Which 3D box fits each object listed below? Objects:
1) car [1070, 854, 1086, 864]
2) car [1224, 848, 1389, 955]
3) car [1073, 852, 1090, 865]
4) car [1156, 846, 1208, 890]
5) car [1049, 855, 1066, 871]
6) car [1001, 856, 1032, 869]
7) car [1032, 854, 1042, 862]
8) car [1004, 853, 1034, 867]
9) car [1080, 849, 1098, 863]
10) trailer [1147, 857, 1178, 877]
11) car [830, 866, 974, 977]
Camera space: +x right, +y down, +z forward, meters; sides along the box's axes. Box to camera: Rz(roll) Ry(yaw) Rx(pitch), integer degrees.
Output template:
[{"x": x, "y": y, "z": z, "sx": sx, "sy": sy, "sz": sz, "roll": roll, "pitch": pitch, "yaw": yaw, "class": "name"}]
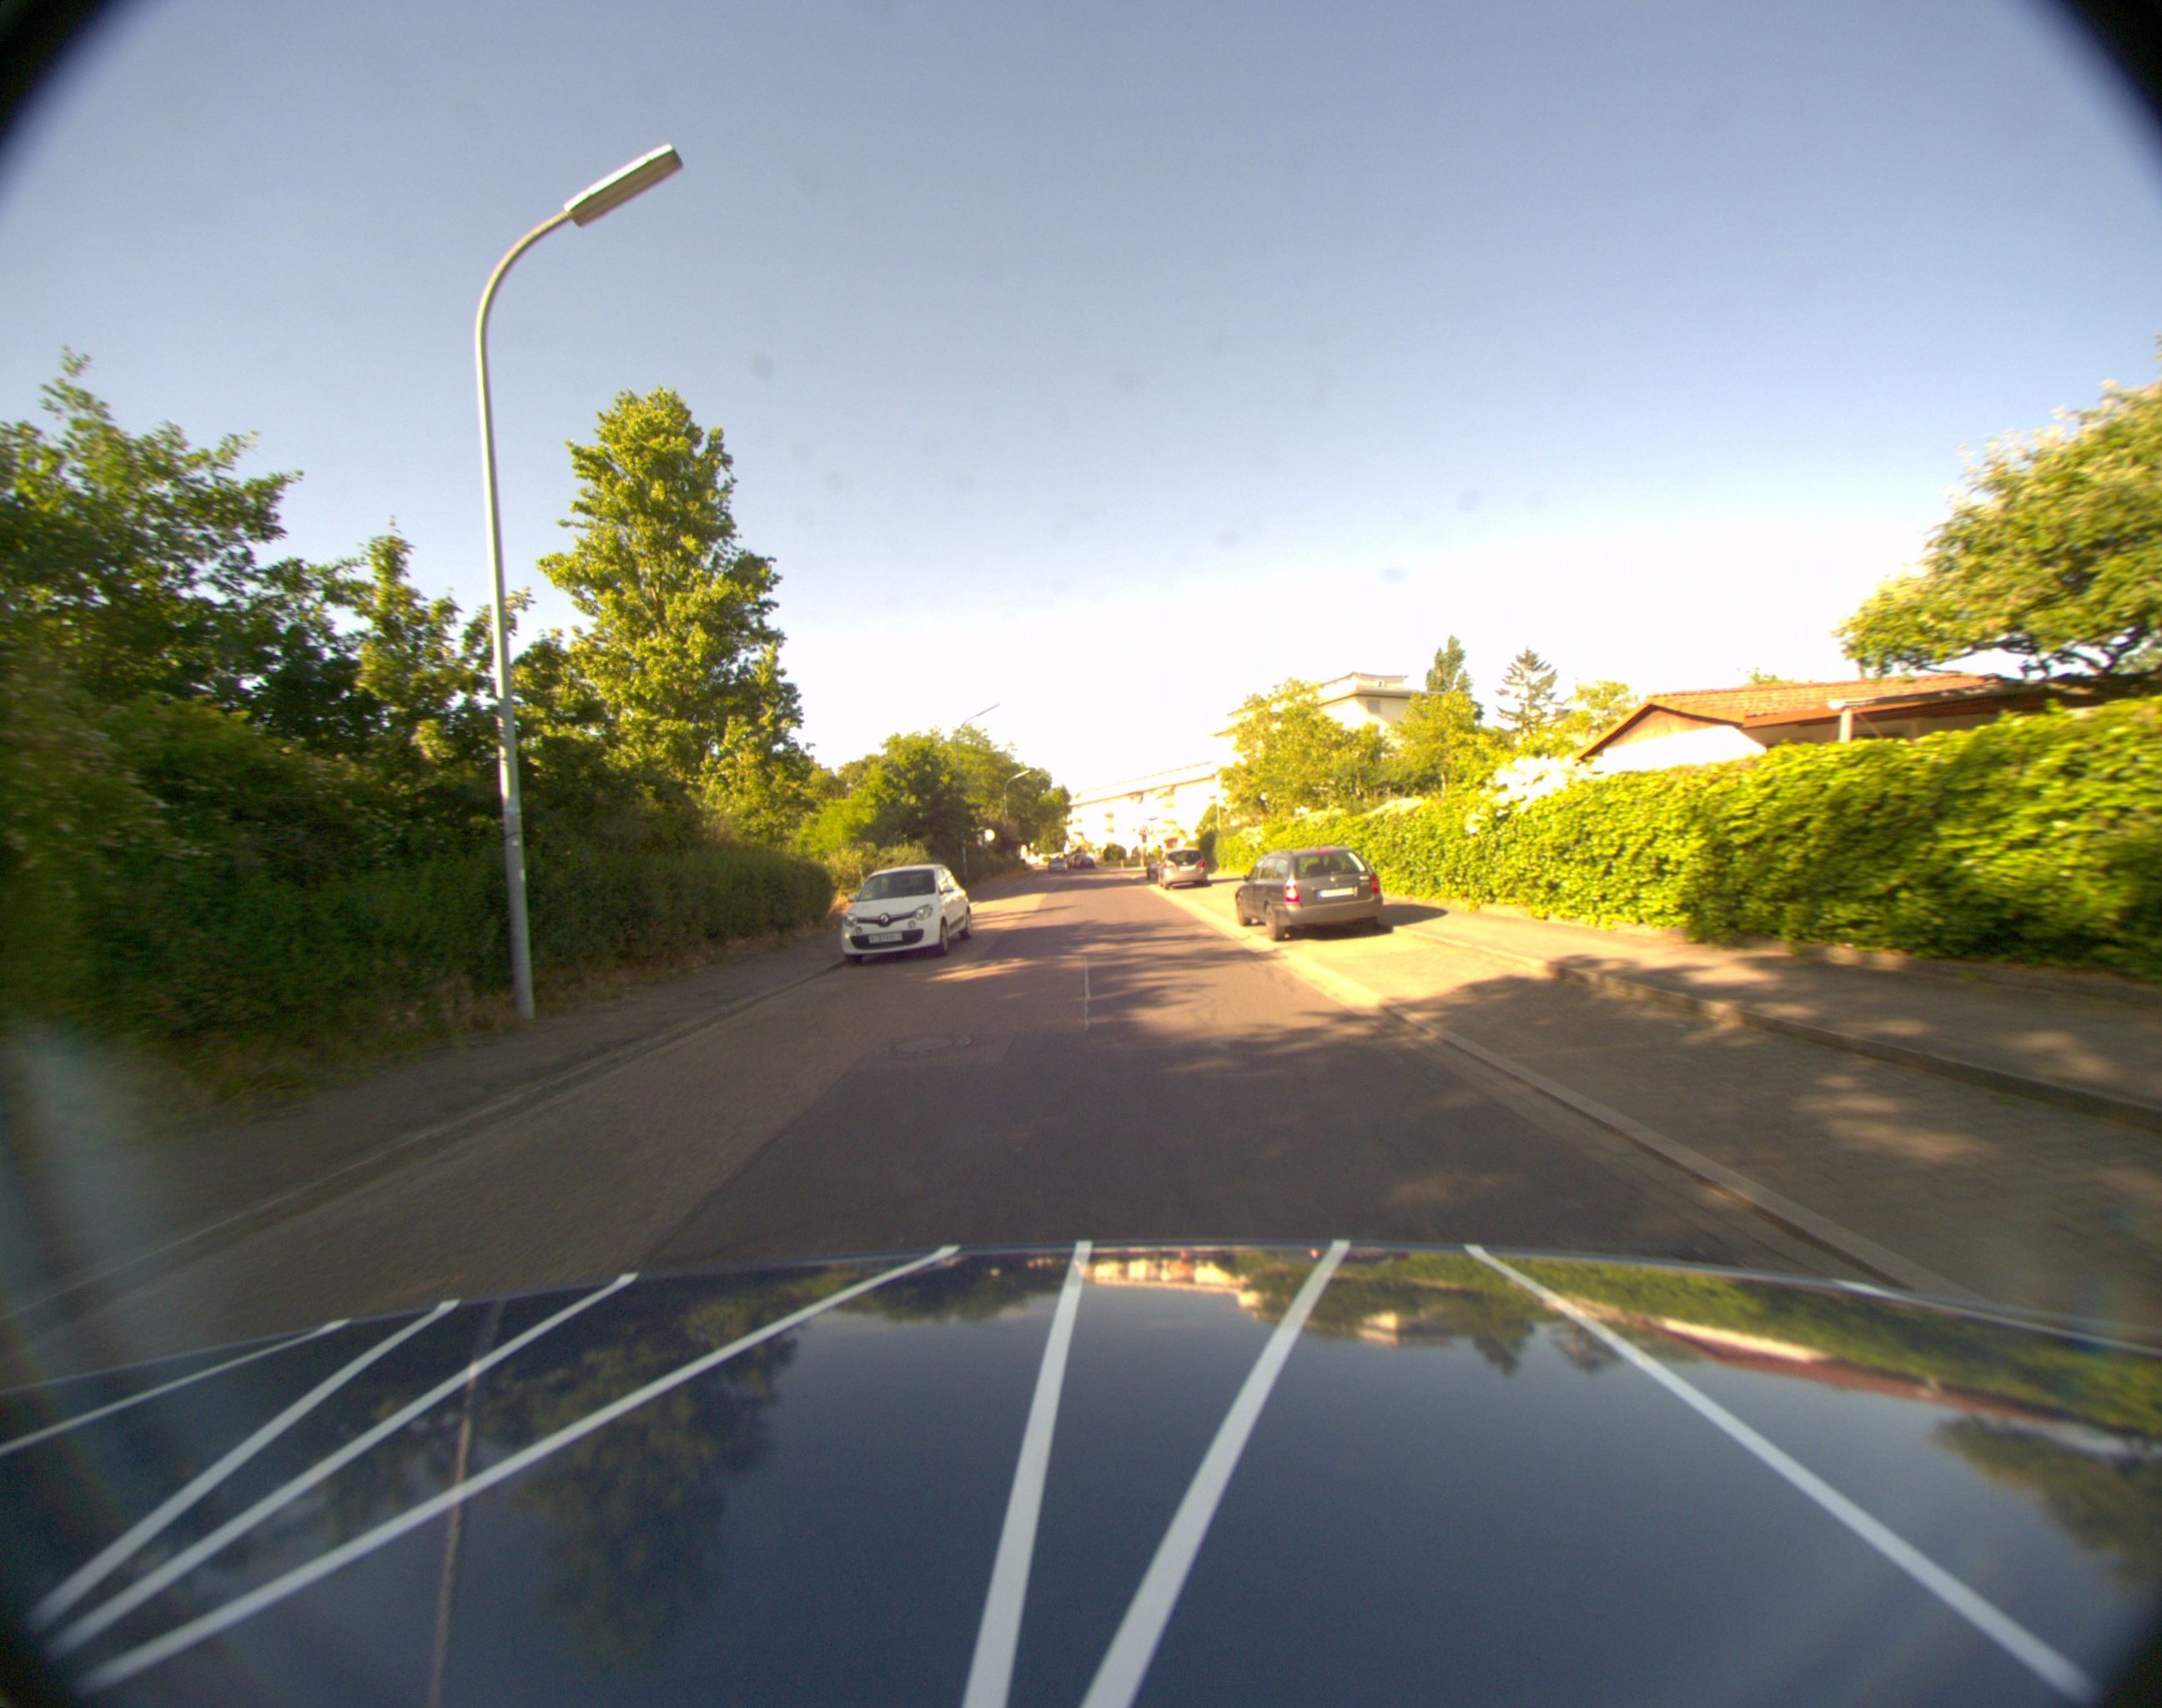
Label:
[{"x": -0.466, "y": 0.734, "z": 109.097, "sx": 1.845, "sy": 1.473, "sz": 4.572, "roll": 0, "pitch": 0, "yaw": -5, "class": "car"}, {"x": 3.799, "y": 0.702, "z": 13.632, "sx": 1.647, "sy": 1.547, "sz": 4.417, "roll": -2, "pitch": 0, "yaw": 1, "class": "car"}, {"x": 0.066, "y": 0.595, "z": 103.096, "sx": 1.845, "sy": 1.770, "sz": 4.886, "roll": -2, "pitch": 0, "yaw": -5, "class": "car"}, {"x": 4.098, "y": 0.521, "z": 31.437, "sx": 1.647, "sy": 1.590, "sz": 4.312, "roll": -4, "pitch": 0, "yaw": 3, "class": "car"}, {"x": -2.227, "y": 0.858, "z": 72.615, "sx": 1.597, "sy": 1.417, "sz": 4.170, "roll": 0, "pitch": 0, "yaw": -1, "class": "car"}, {"x": -8.848, "y": 1.142, "z": 104.113, "sx": 4.160, "sy": 1.685, "sz": 1.774, "roll": -2, "pitch": 0, "yaw": -3, "class": "car"}, {"x": -11.533, "y": 1.046, "z": 200.251, "sx": 2.008, "sy": 1.837, "sz": 4.612, "roll": -5, "pitch": 0, "yaw": -9, "class": "car"}, {"x": -9.507, "y": 0.943, "z": 116.765, "sx": 4.464, "sy": 2.005, "sz": 2.020, "roll": -2, "pitch": 0, "yaw": -4, "class": "car"}, {"x": 0.927, "y": 0.270, "z": 89.901, "sx": 1.732, "sy": 1.455, "sz": 4.681, "roll": -2, "pitch": -1, "yaw": -4, "class": "car"}, {"x": 4.460, "y": 0.703, "z": 41.856, "sx": 1.547, "sy": 0.948, "sz": 2.647, "roll": -4, "pitch": 0, "yaw": 3, "class": "trailer"}, {"x": -3.057, "y": 1.084, "z": 13.698, "sx": 1.559, "sy": 1.529, "sz": 3.555, "roll": -5, "pitch": 0, "yaw": 1, "class": "car"}]
